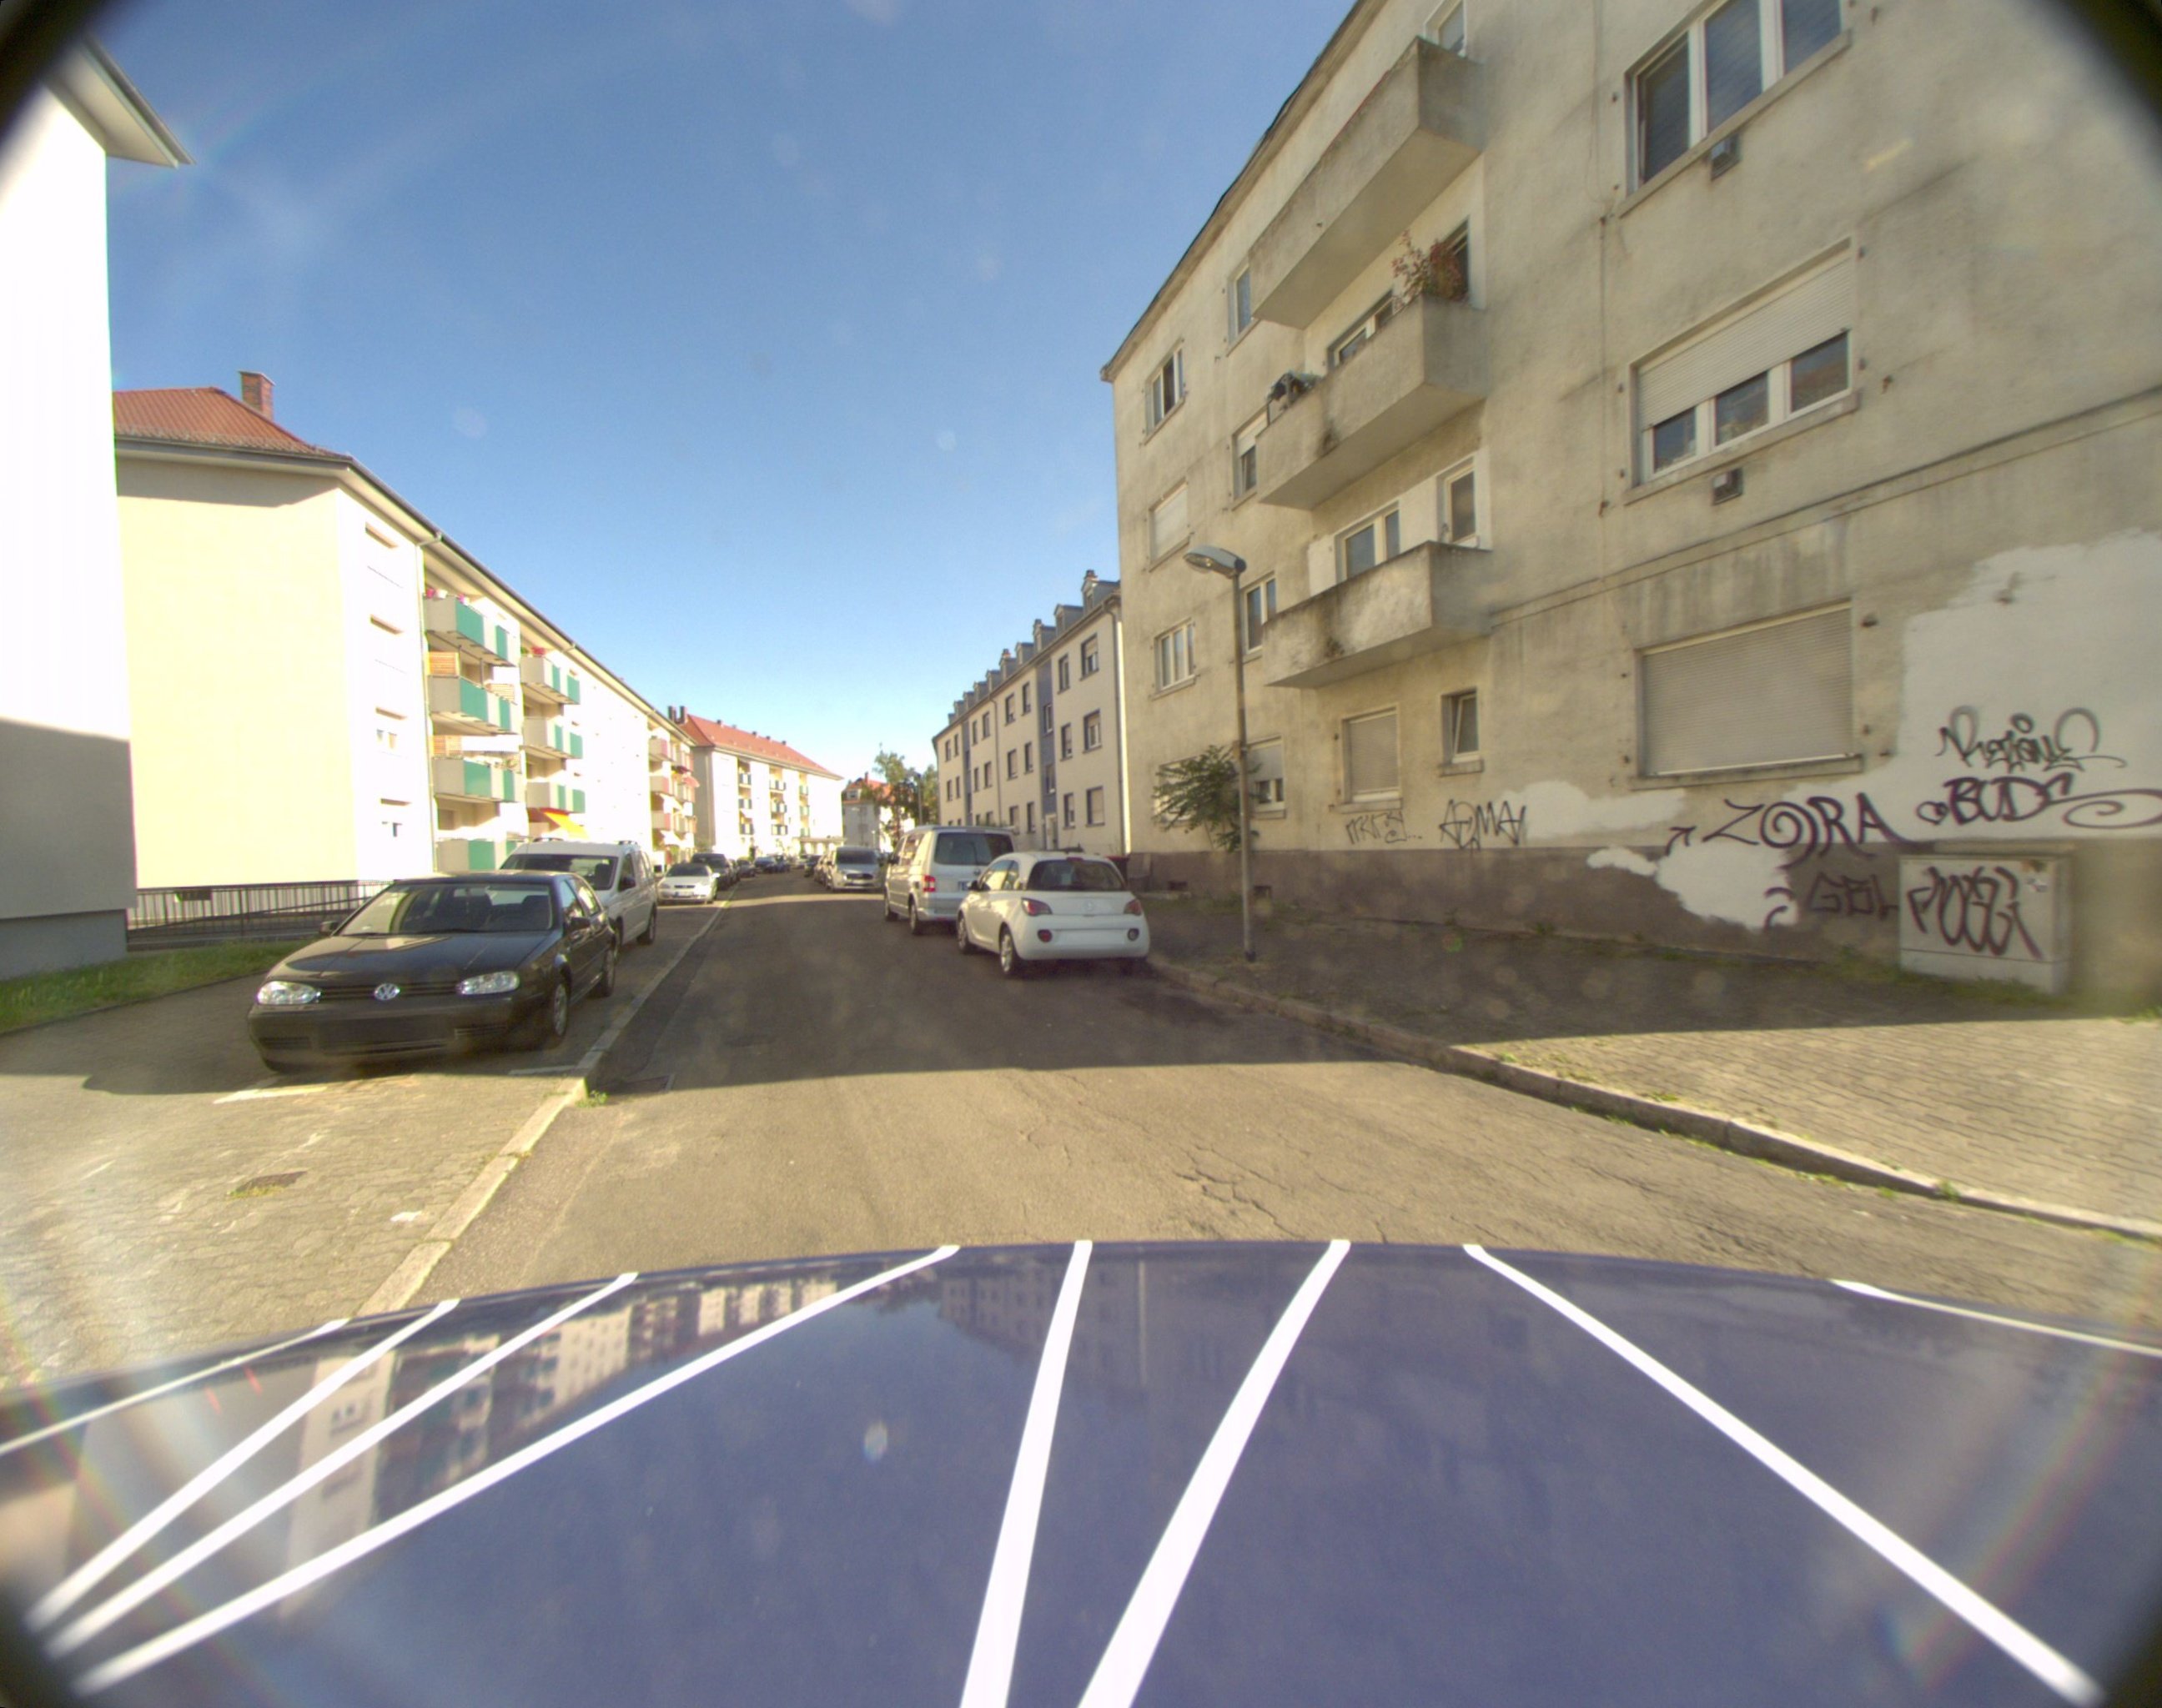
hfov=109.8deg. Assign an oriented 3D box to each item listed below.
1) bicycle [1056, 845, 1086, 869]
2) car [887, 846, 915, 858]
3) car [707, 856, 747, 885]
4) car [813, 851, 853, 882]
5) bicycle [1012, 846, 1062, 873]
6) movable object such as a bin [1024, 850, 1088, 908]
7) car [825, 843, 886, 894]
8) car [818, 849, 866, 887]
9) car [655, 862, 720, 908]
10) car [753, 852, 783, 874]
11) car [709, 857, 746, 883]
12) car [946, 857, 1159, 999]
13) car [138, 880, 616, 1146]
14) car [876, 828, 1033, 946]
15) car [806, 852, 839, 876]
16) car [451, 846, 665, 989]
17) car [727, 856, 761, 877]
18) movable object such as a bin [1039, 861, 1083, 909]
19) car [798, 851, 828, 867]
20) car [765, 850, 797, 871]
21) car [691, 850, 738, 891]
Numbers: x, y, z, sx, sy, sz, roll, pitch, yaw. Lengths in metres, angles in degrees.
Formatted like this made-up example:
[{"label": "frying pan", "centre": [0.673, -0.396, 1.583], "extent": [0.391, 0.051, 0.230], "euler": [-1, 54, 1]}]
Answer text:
[{"label": "bicycle", "centre": [-0.439, 0.121, 31.969], "extent": [0.501, 0.956, 2.070], "euler": [-6, 3, -21]}, {"label": "car", "centre": [-23.088, -0.260, 97.644], "extent": [1.573, 1.417, 3.984], "euler": [1, 0, 18]}, {"label": "car", "centre": [-19.456, 0.867, 41.841], "extent": [1.646, 1.451, 3.853], "euler": [-1, 1, -20]}, {"label": "car", "centre": [-12.661, 0.616, 38.698], "extent": [1.651, 1.510, 3.695], "euler": [1, 0, -22]}, {"label": "bicycle", "centre": [-1.917, 0.224, 33.322], "extent": [2.076, 0.956, 0.499], "euler": [-6, 3, -22]}, {"label": "movable object such as a bin", "centre": [-0.649, 0.605, 19.402], "extent": [1.261, 1.369, 1.043], "euler": [-4, 2, -23]}, {"label": "car", "centre": [-8.767, 0.500, 29.294], "extent": [1.808, 1.819, 4.939], "euler": [0, 0, -22]}, {"label": "car", "centre": [-10.931, 0.603, 34.610], "extent": [1.681, 1.582, 4.156], "euler": [1, 0, -23]}, {"label": "car", "centre": [-13.750, 1.021, 26.728], "extent": [1.750, 1.398, 4.305], "euler": [-1, 1, -24]}, {"label": "car", "centre": [-26.673, 0.726, 64.868], "extent": [1.583, 1.752, 4.234], "euler": [-1, 1, -11]}, {"label": "car", "centre": [-21.366, 0.918, 46.001], "extent": [1.670, 1.440, 3.853], "euler": [-1, 1, -20]}, {"label": "car", "centre": [-0.575, 0.800, 10.094], "extent": [1.694, 1.450, 3.714], "euler": [-1, 1, -21]}, {"label": "car", "centre": [-5.485, 1.009, 6.676], "extent": [1.806, 1.407, 4.041], "euler": [0, 0, -23]}, {"label": "car", "centre": [-2.690, 0.525, 14.988], "extent": [1.959, 1.922, 4.846], "euler": [-1, 1, -23]}, {"label": "car", "centre": [-16.612, 0.602, 48.721], "extent": [1.908, 1.450, 4.388], "euler": [0, 0, -21]}, {"label": "car", "centre": [-8.020, 0.804, 12.158], "extent": [1.805, 1.835, 4.530], "euler": [0, 0, -21]}, {"label": "car", "centre": [-24.171, 0.868, 54.590], "extent": [1.680, 1.411, 3.854], "euler": [-1, 1, -15]}, {"label": "movable object such as a bin", "centre": [-0.497, 0.729, 18.395], "extent": [0.776, 1.073, 0.814], "euler": [-4, 2, -23]}, {"label": "car", "centre": [-29.090, 0.500, 82.534], "extent": [1.757, 1.625, 4.404], "euler": [-1, 1, -2]}, {"label": "car", "centre": [-27.594, 0.590, 70.017], "extent": [1.758, 1.725, 3.996], "euler": [-6, 2, -10]}, {"label": "car", "centre": [-17.777, 0.724, 36.999], "extent": [1.767, 1.829, 4.910], "euler": [-1, 1, -22]}]
